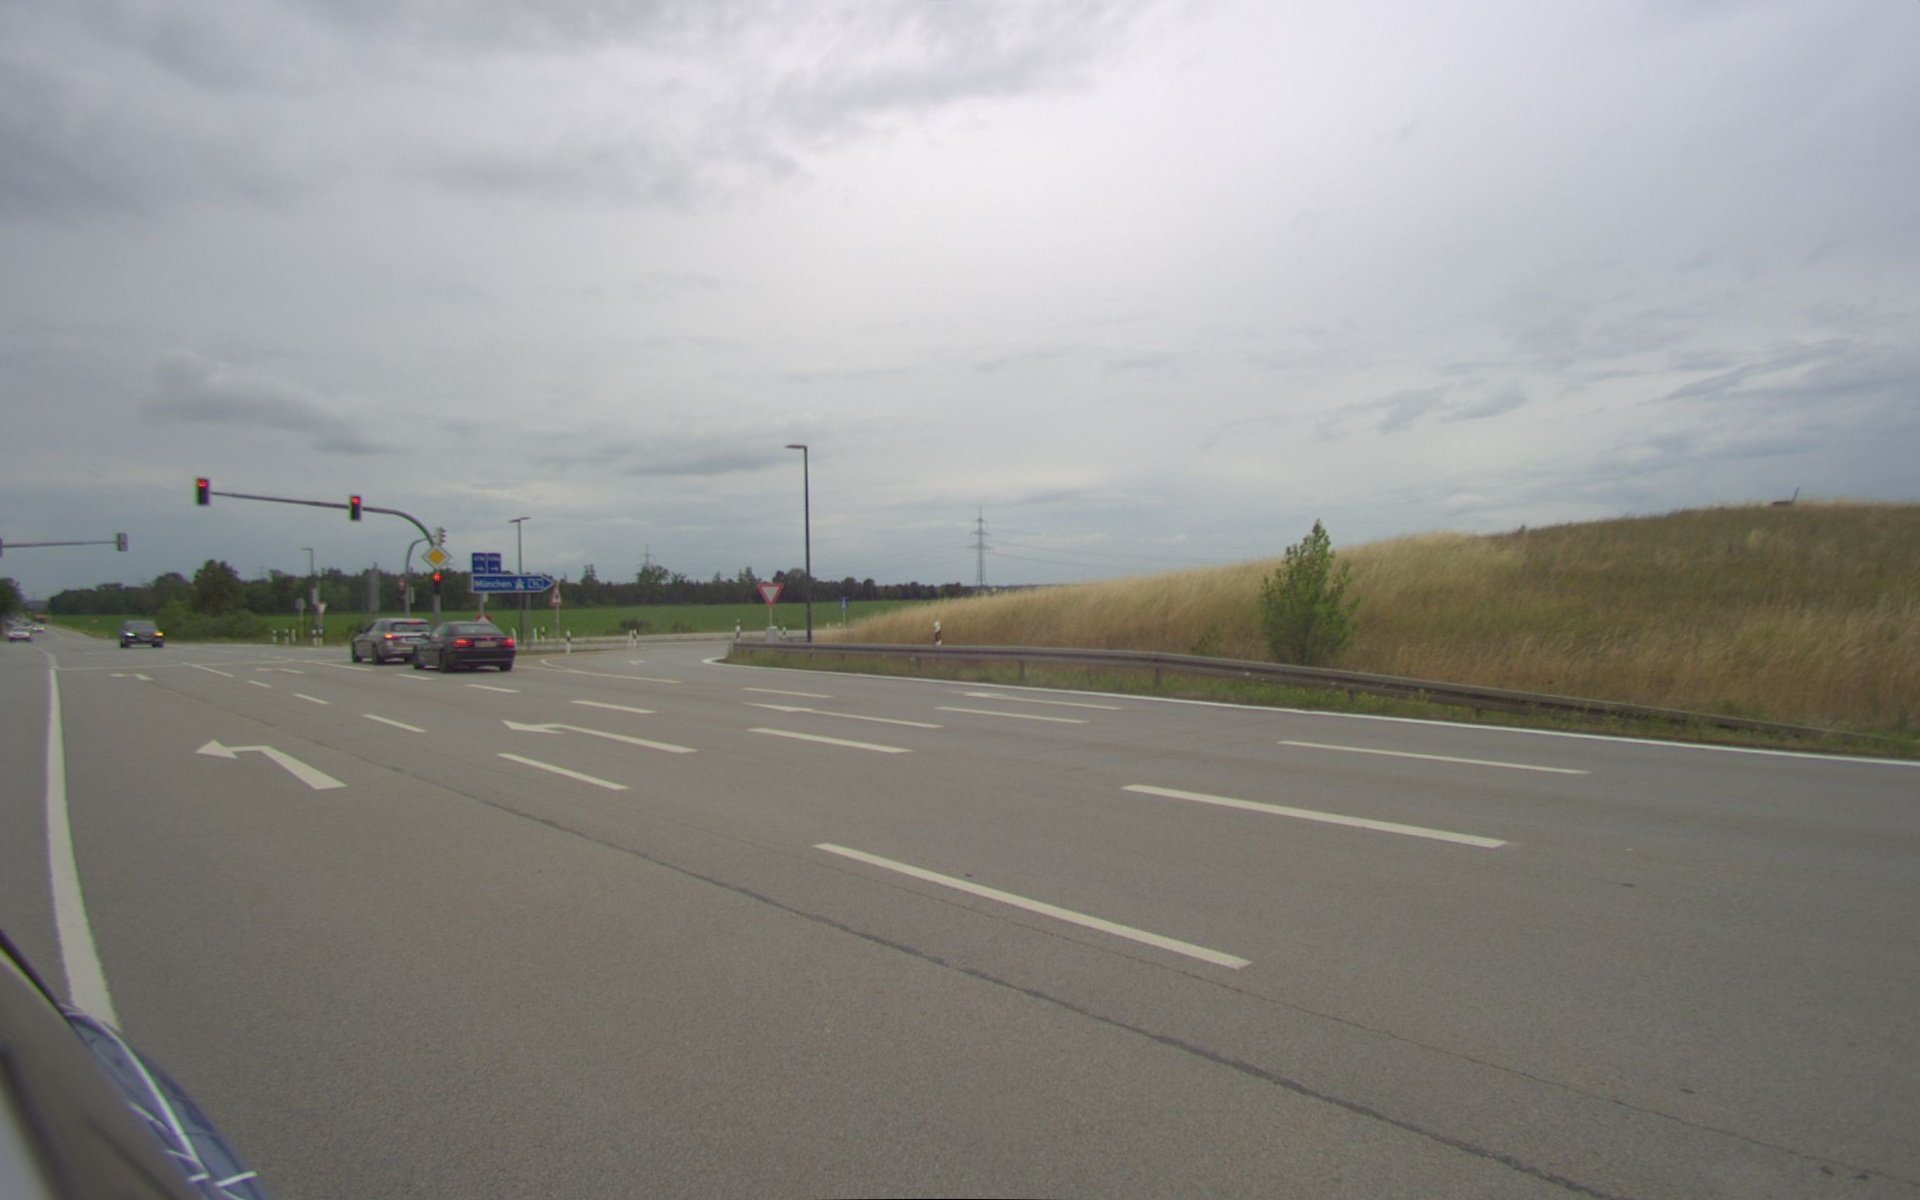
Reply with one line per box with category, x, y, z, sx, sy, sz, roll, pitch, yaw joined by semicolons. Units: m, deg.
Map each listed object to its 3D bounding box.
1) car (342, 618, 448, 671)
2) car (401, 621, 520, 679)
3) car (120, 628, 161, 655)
car;-18.858;1.453;33.675;1.892;1.623;4.953;2;-3;-43
car;-14.048;1.328;28.314;1.687;1.421;4.679;0;0;-43
car;-53.217;2.672;65.799;1.968;1.697;5.008;0;-1;-38
